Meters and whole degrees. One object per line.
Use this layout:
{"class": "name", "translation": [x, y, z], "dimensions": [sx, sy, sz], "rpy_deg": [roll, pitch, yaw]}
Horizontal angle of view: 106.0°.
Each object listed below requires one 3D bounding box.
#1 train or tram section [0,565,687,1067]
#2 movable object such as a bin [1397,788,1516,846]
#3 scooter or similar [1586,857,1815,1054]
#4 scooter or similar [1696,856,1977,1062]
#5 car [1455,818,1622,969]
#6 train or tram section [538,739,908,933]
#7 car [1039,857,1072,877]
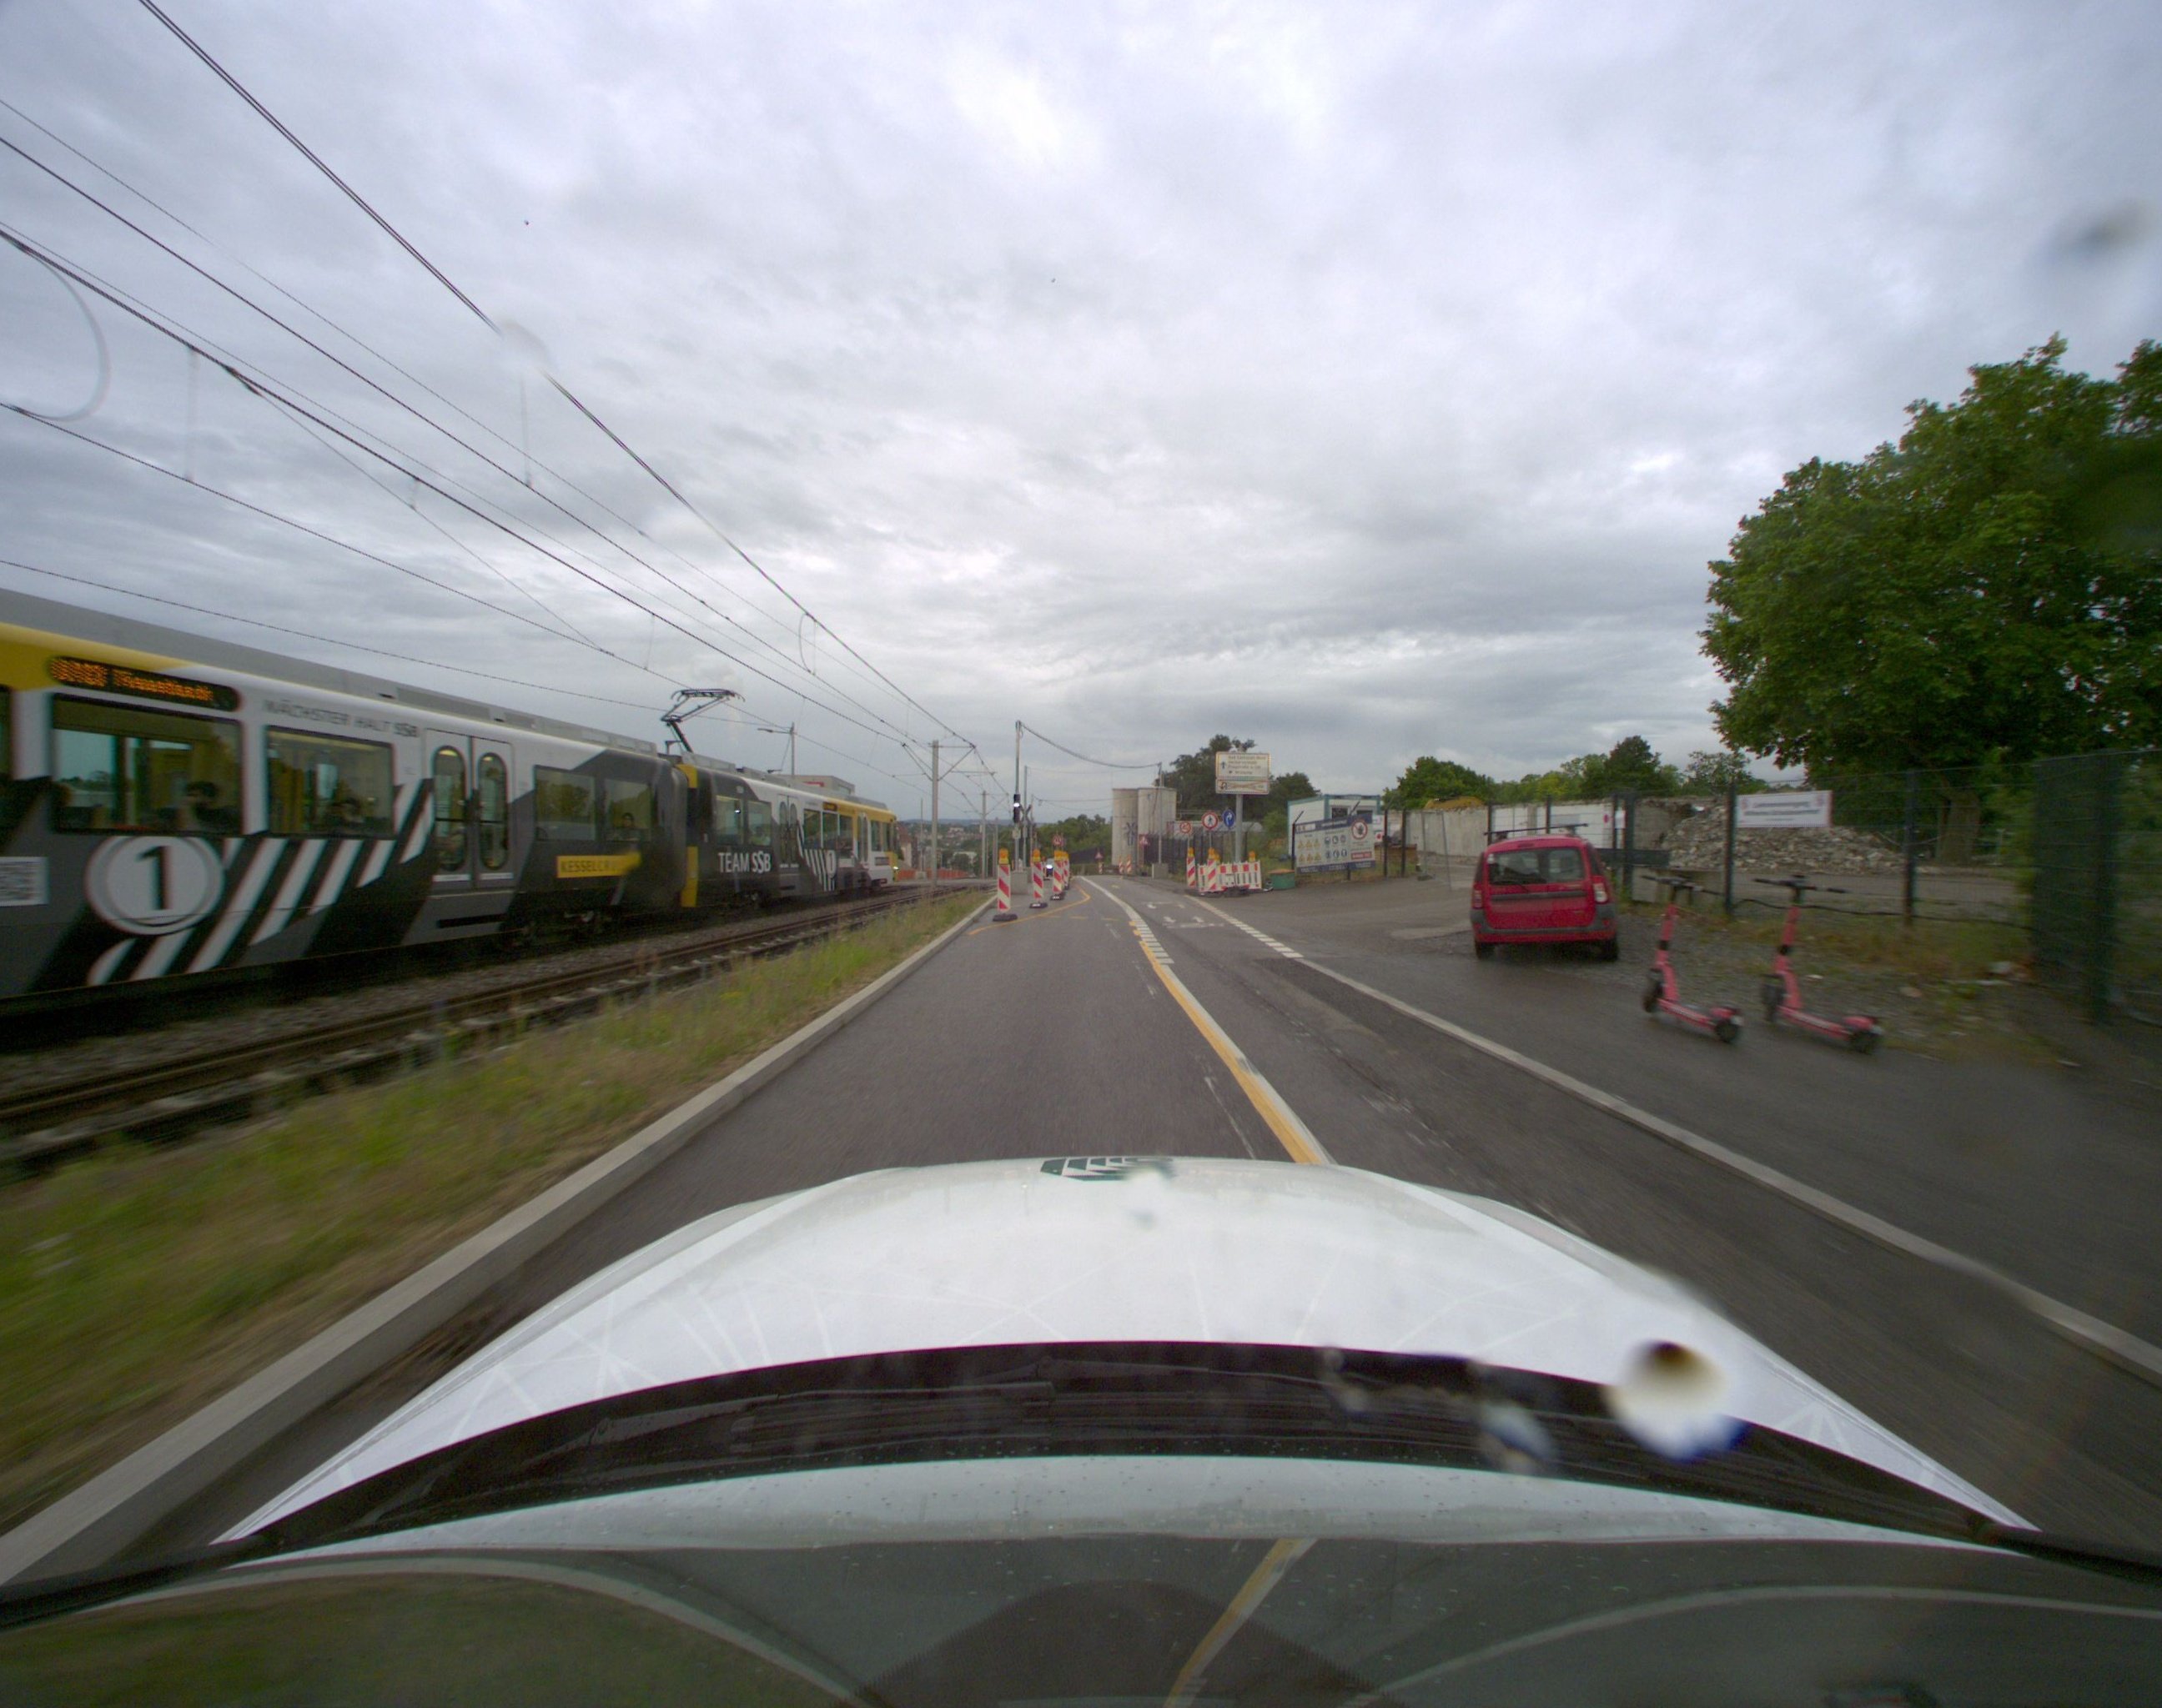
{"class": "train or tram section", "translation": [-9.837, -0.309, 6.714], "dimensions": [2.944, 3.886, 19.582], "rpy_deg": [1, 0, 2]}
{"class": "movable object such as a bin", "translation": [40.930, -3.946, 89.154], "dimensions": [11.166, 5.995, 3.499], "rpy_deg": [-1, -1, 8]}
{"class": "scooter or similar", "translation": [4.927, 0.716, 6.660], "dimensions": [0.611, 1.351, 1.916], "rpy_deg": [0, 0, 7]}
{"class": "scooter or similar", "translation": [5.750, 0.699, 6.382], "dimensions": [0.611, 1.351, 1.916], "rpy_deg": [0, 0, 7]}
{"class": "car", "translation": [6.826, 0.456, 12.041], "dimensions": [1.802, 1.794, 4.437], "rpy_deg": [0, 0, 32]}
{"class": "train or tram section", "translation": [-9.282, -0.390, 26.100], "dimensions": [2.944, 3.886, 19.294], "rpy_deg": [1, 0, 1]}
{"class": "car", "translation": [-2.372, 1.185, 73.482], "dimensions": [1.997, 1.678, 4.465], "rpy_deg": [-1, -1, -15]}
